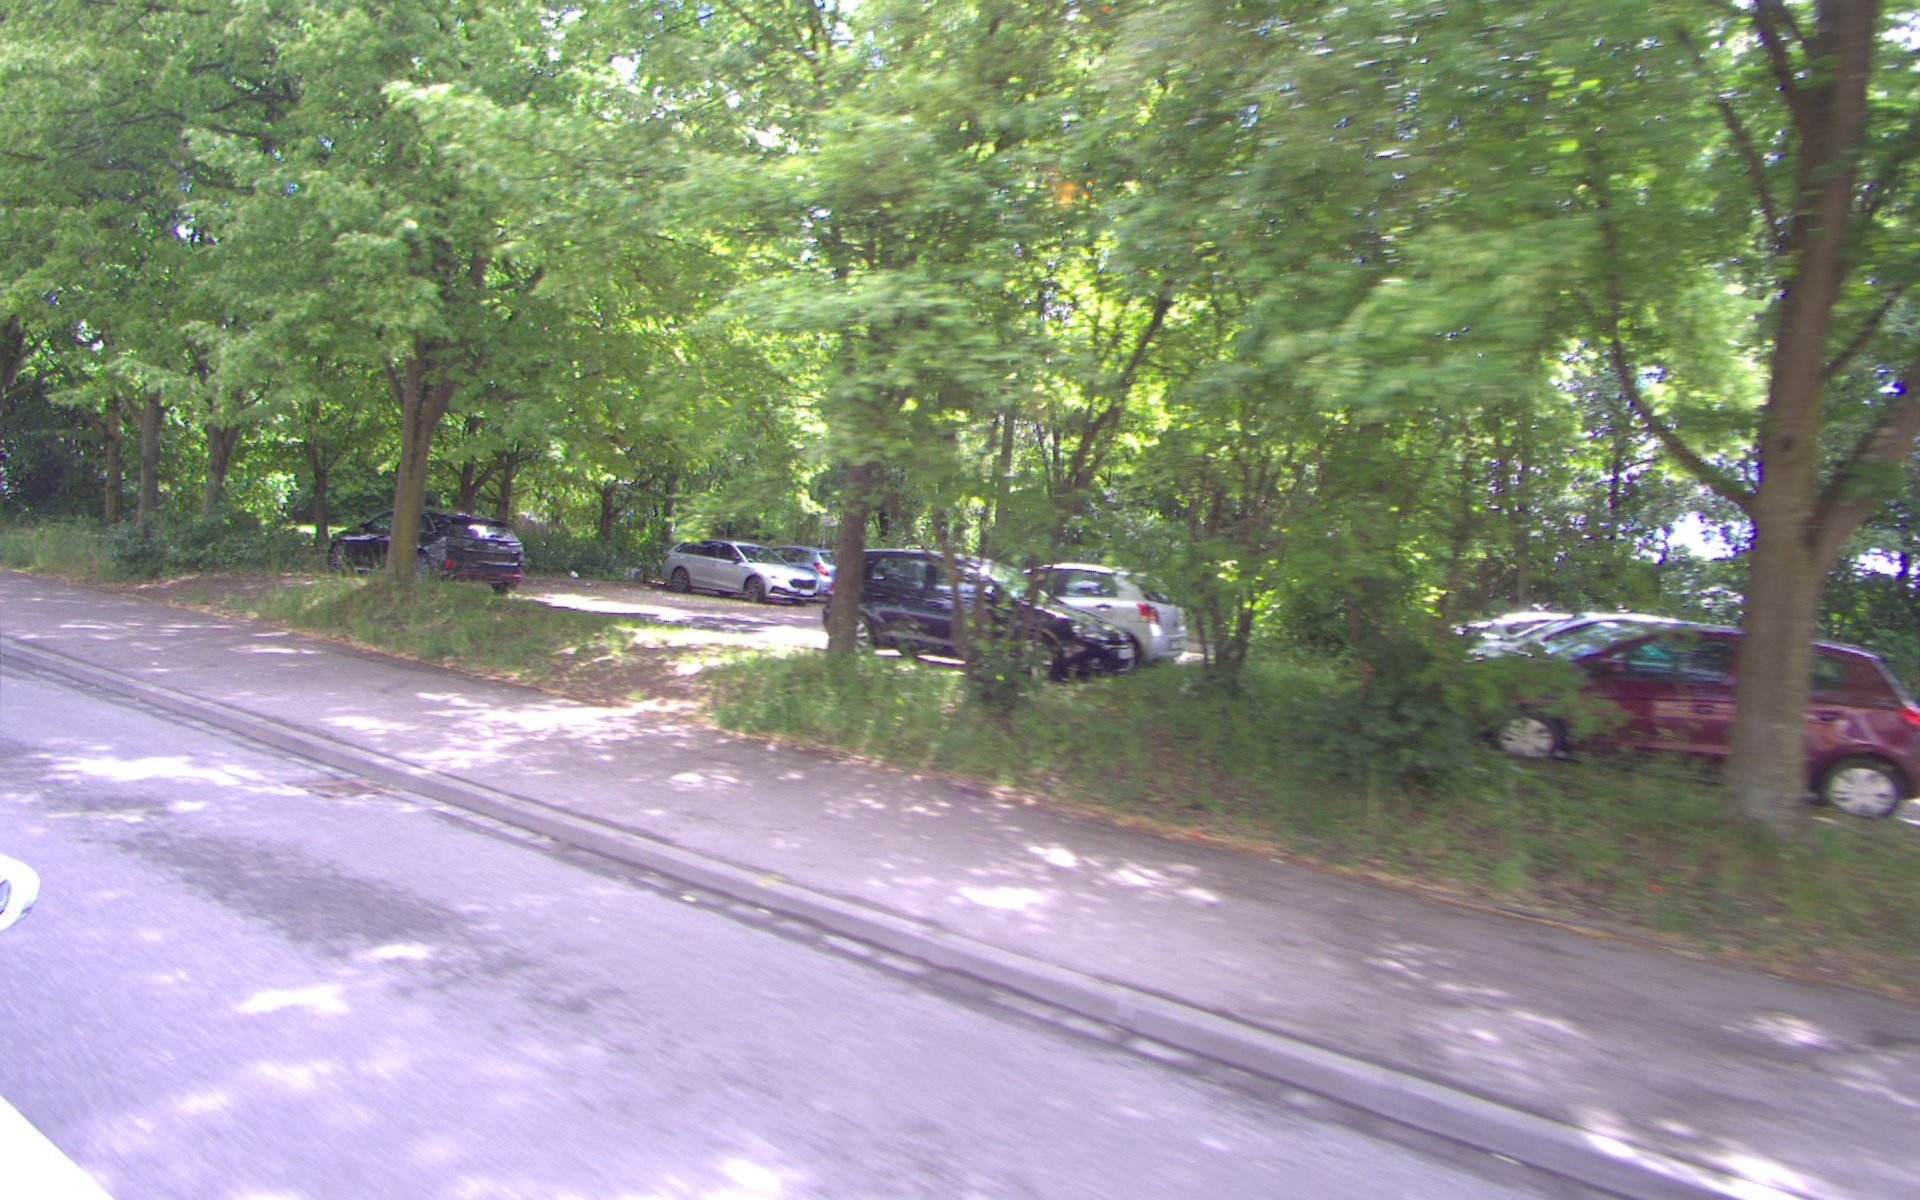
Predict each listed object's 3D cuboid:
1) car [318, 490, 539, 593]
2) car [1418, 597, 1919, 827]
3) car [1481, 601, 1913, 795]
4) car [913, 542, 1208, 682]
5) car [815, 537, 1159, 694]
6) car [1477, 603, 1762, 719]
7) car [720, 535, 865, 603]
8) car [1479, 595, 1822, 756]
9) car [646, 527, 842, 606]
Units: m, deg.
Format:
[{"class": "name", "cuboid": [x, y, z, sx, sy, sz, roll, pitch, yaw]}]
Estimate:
[{"class": "car", "cuboid": [-9.948, -1.098, 18.763, 4.090, 1.528, 1.715, 6, 3, 31]}, {"class": "car", "cuboid": [6.396, 0.912, 9.282, 3.749, 1.432, 1.612, 7, 2, 22]}, {"class": "car", "cuboid": [8.020, 0.968, 11.379, 3.561, 1.528, 1.692, 7, 3, 31]}, {"class": "car", "cuboid": [1.460, 0.133, 14.986, 3.921, 1.587, 1.636, 6, 2, 29]}, {"class": "car", "cuboid": [0.313, 0.148, 12.893, 3.921, 1.483, 1.799, 6, 1, 29]}, {"class": "car", "cuboid": [10.506, 0.914, 16.313, 3.561, 1.335, 1.787, 7, 3, 31]}, {"class": "car", "cuboid": [-4.753, -0.874, 28.343, 3.831, 1.528, 1.650, 7, 3, 33]}, {"class": "car", "cuboid": [9.318, 0.935, 13.927, 3.561, 1.636, 1.692, 7, 3, 31]}, {"class": "car", "cuboid": [-5.530, -0.857, 25.546, 4.800, 1.528, 1.993, 7, 2, 33]}]
